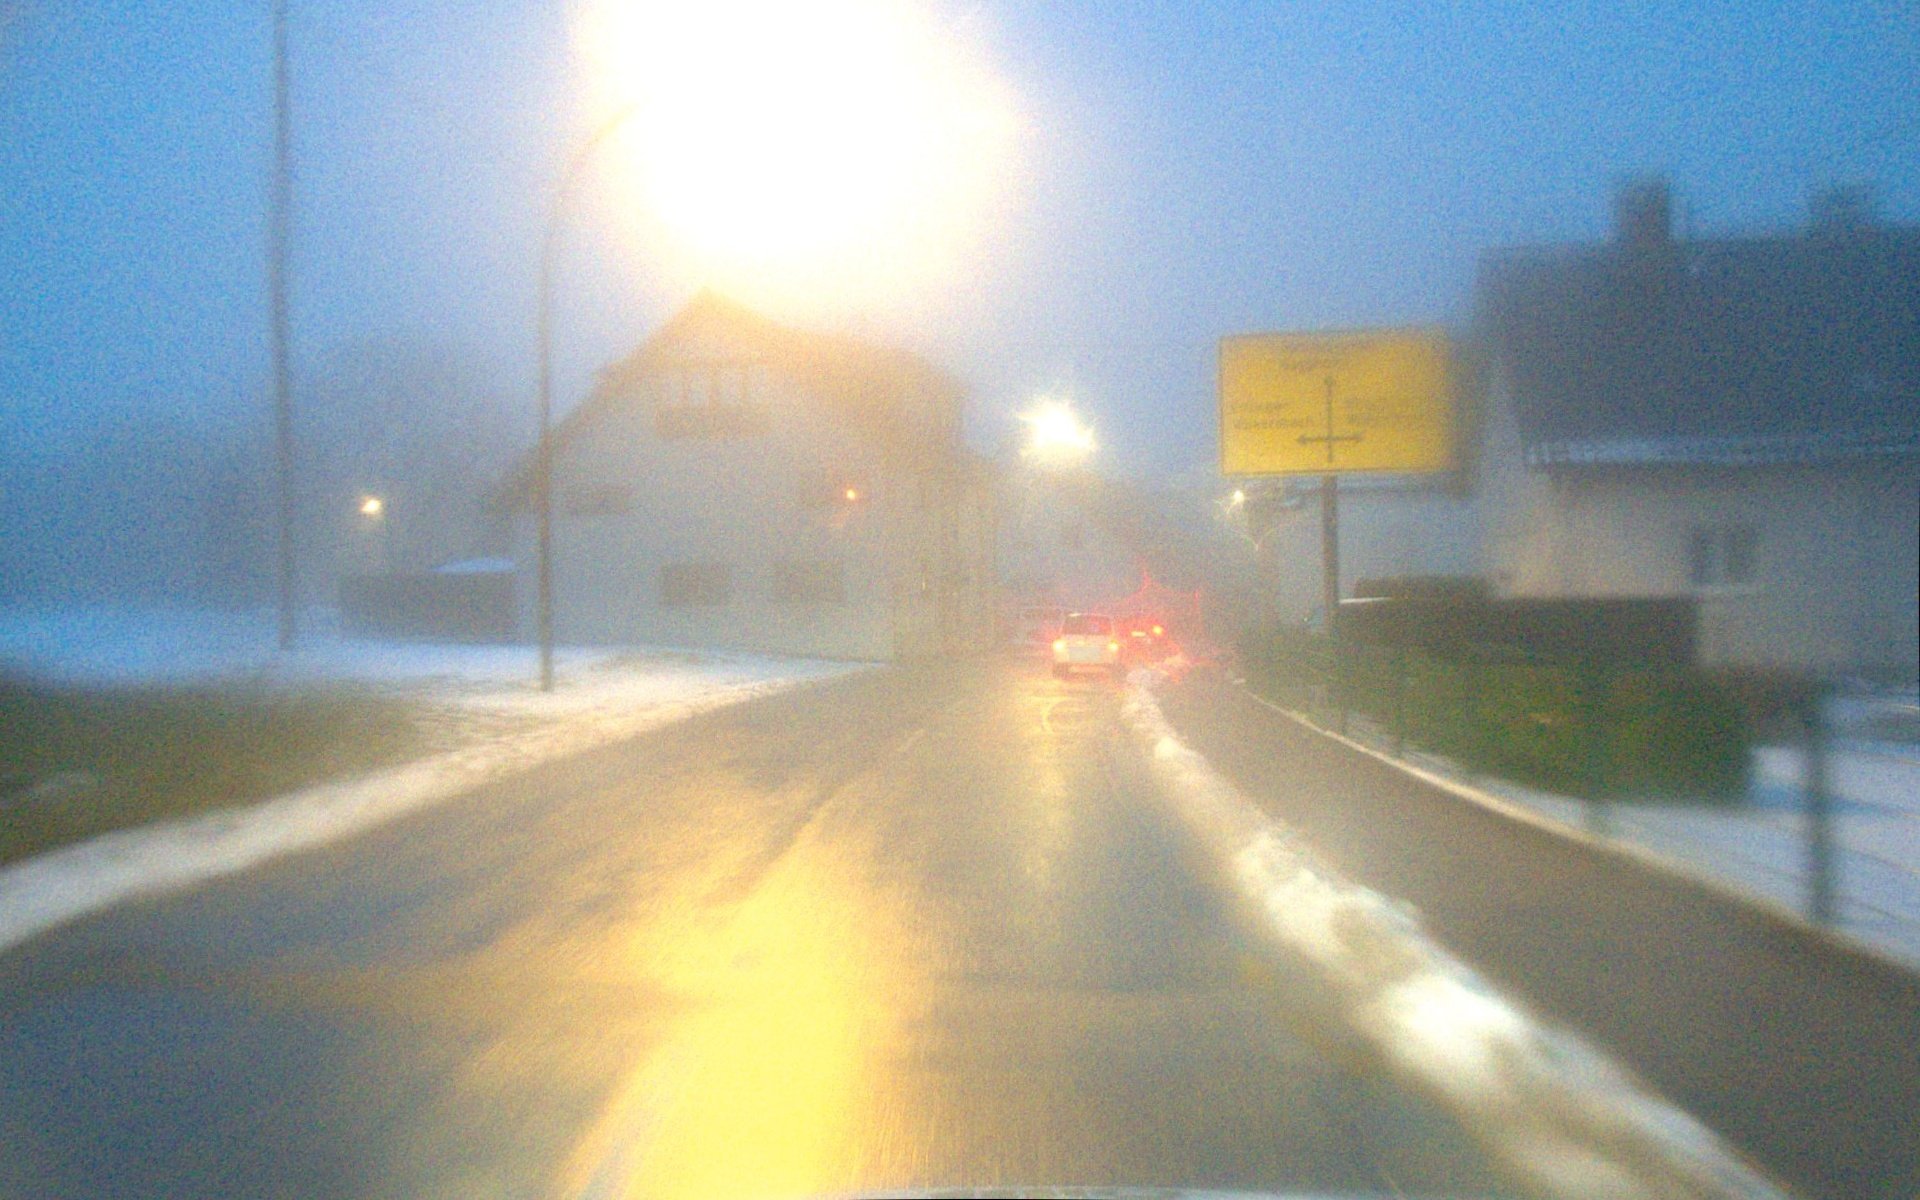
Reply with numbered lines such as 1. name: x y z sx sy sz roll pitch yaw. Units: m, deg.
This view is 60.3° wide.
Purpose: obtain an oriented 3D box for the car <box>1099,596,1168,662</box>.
1. car: 5.837 0.936 55.312 1.951 1.869 4.004 -3 2 10

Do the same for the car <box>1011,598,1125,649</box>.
1. car: 4.857 1.058 74.372 4.639 2.048 1.999 -2 2 26

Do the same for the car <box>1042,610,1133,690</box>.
1. car: 2.955 1.142 39.033 1.952 1.534 4.002 -3 2 3
